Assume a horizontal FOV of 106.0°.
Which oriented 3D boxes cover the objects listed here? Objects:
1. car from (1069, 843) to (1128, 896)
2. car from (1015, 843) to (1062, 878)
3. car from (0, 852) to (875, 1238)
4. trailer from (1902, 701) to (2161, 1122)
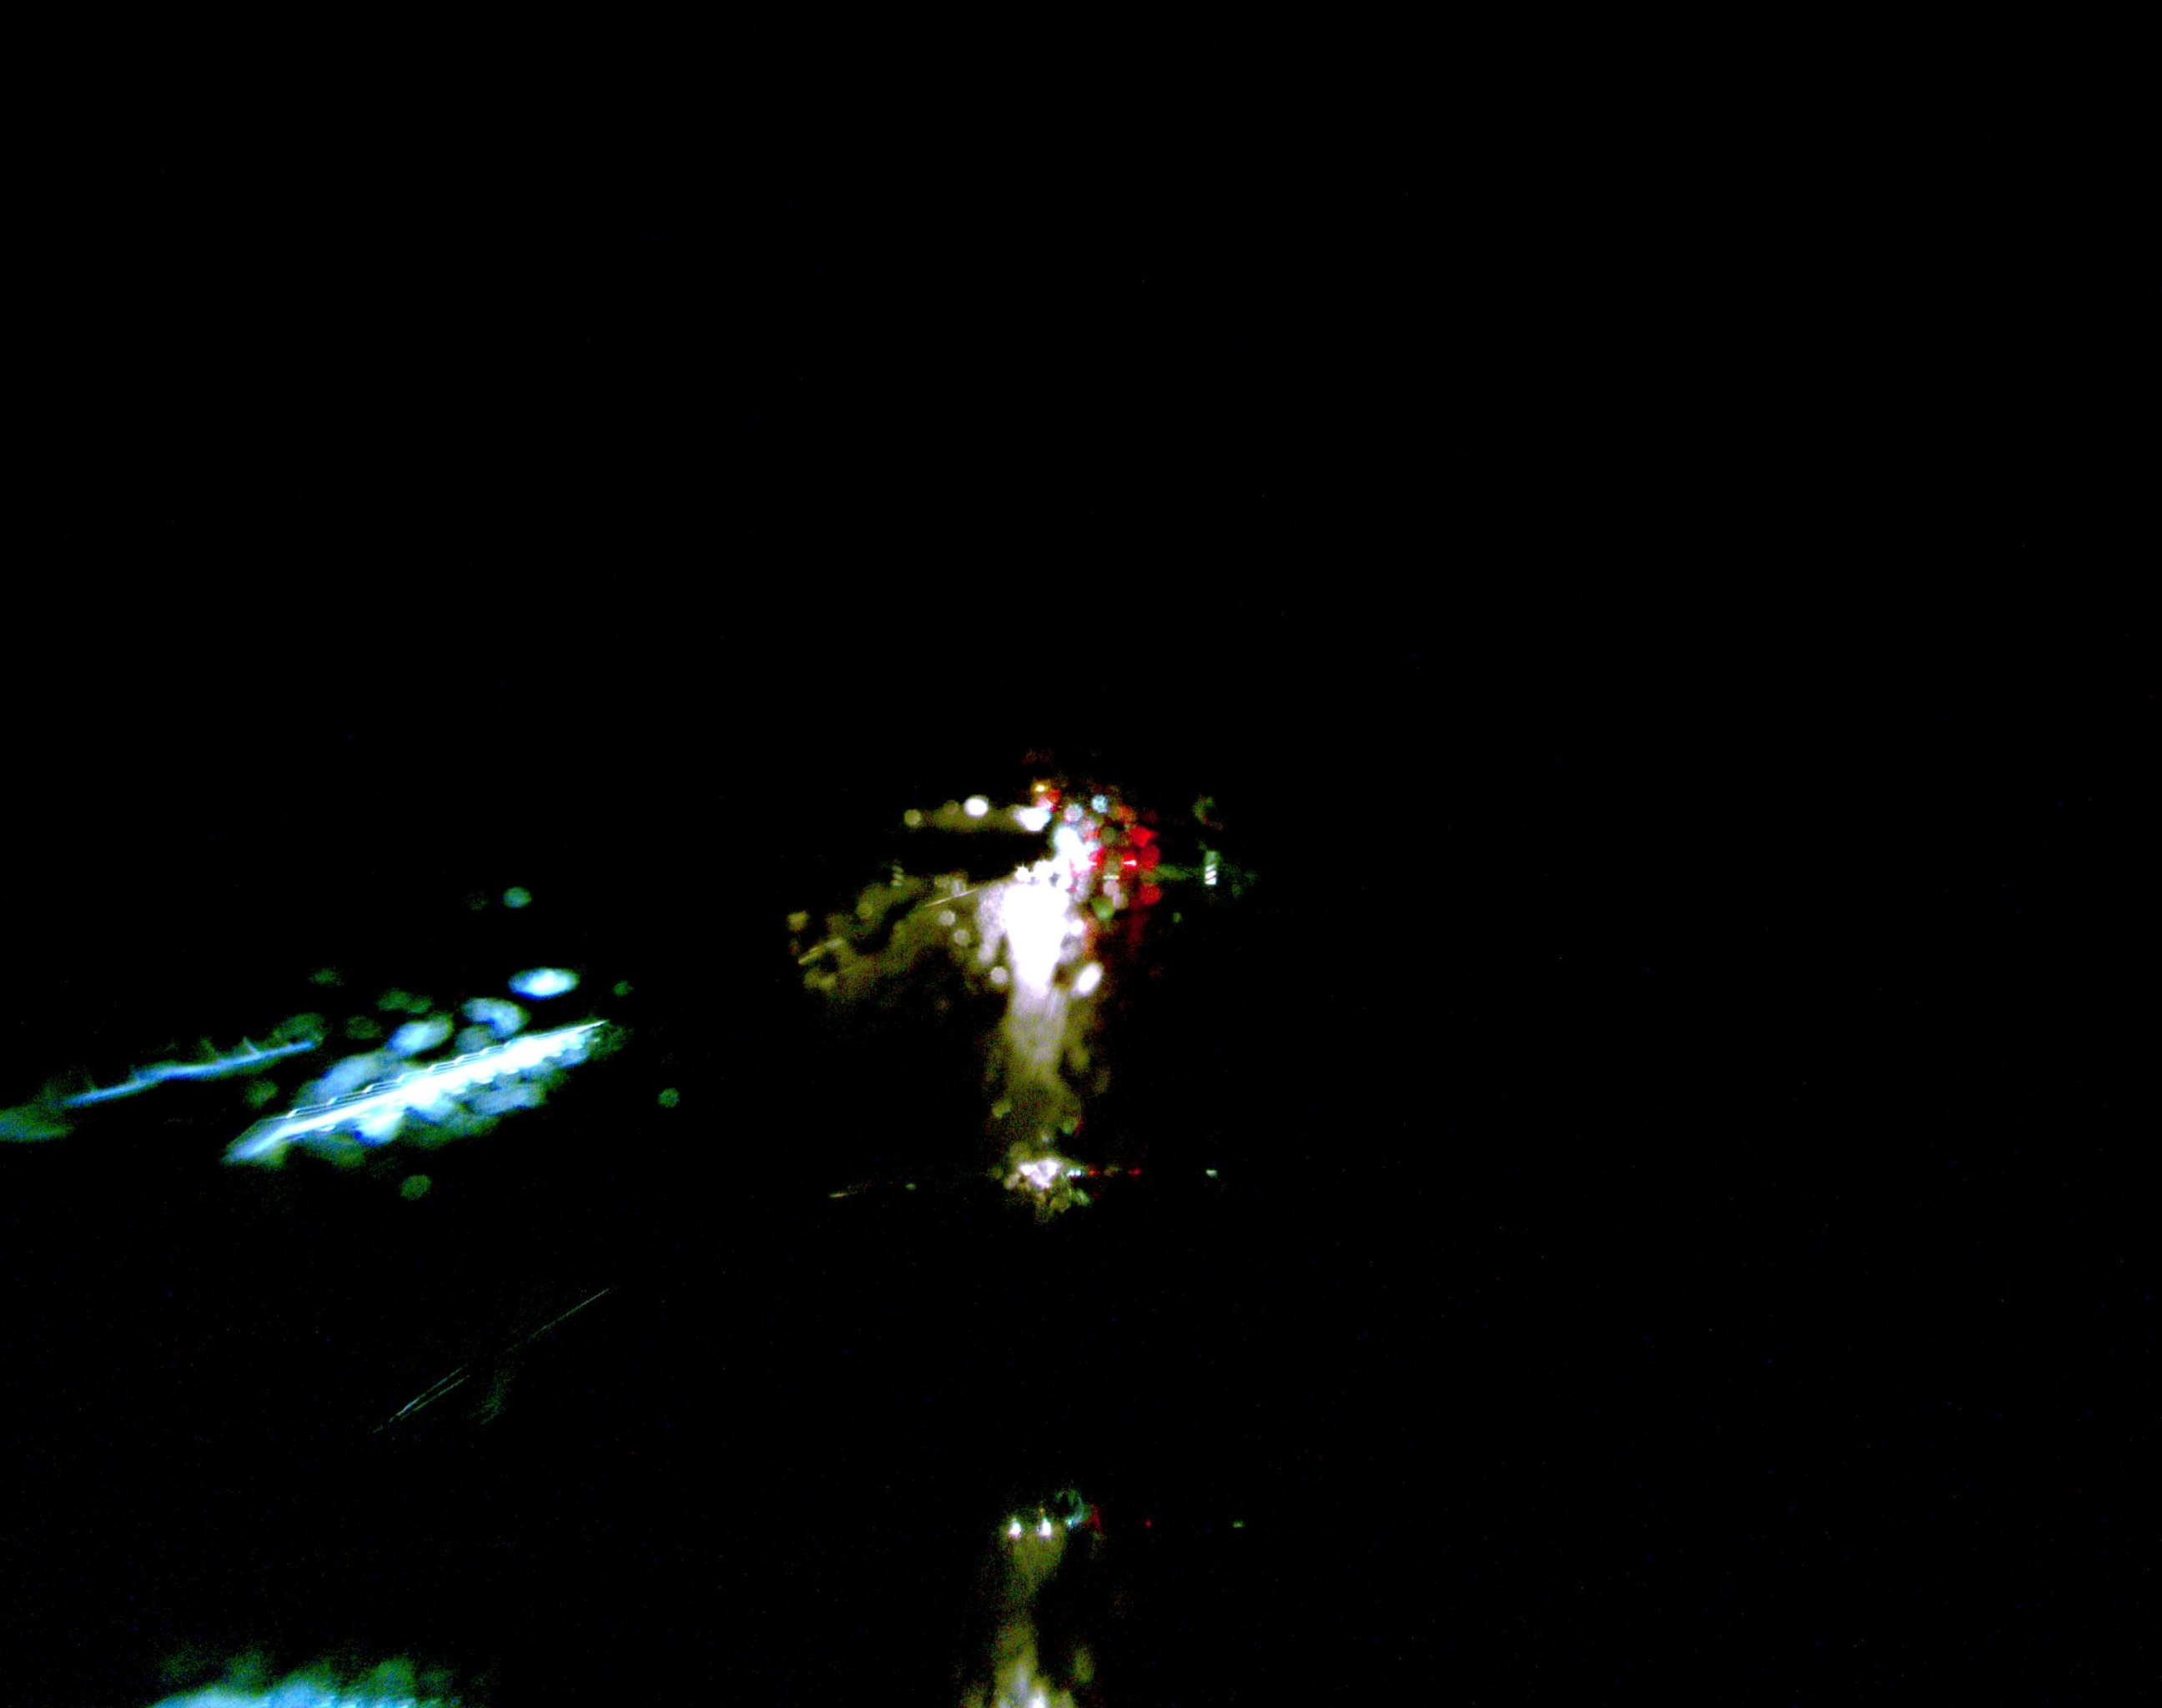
[{"bbox_3d":[0.607,0.469,27.183,1.795,1.628,3.616,1,0,2],"label":"car"},{"bbox_3d":[-1.893,0.284,36.981,1.795,1.509,3.617,1,0,2],"label":"car"},{"bbox_3d":[-3.168,0.753,5.643,1.985,1.460,4.901,1,0,3],"label":"car"},{"bbox_3d":[6.894,0.356,3.671,1.625,2.364,4.652,3,0,0],"label":"trailer"}]
